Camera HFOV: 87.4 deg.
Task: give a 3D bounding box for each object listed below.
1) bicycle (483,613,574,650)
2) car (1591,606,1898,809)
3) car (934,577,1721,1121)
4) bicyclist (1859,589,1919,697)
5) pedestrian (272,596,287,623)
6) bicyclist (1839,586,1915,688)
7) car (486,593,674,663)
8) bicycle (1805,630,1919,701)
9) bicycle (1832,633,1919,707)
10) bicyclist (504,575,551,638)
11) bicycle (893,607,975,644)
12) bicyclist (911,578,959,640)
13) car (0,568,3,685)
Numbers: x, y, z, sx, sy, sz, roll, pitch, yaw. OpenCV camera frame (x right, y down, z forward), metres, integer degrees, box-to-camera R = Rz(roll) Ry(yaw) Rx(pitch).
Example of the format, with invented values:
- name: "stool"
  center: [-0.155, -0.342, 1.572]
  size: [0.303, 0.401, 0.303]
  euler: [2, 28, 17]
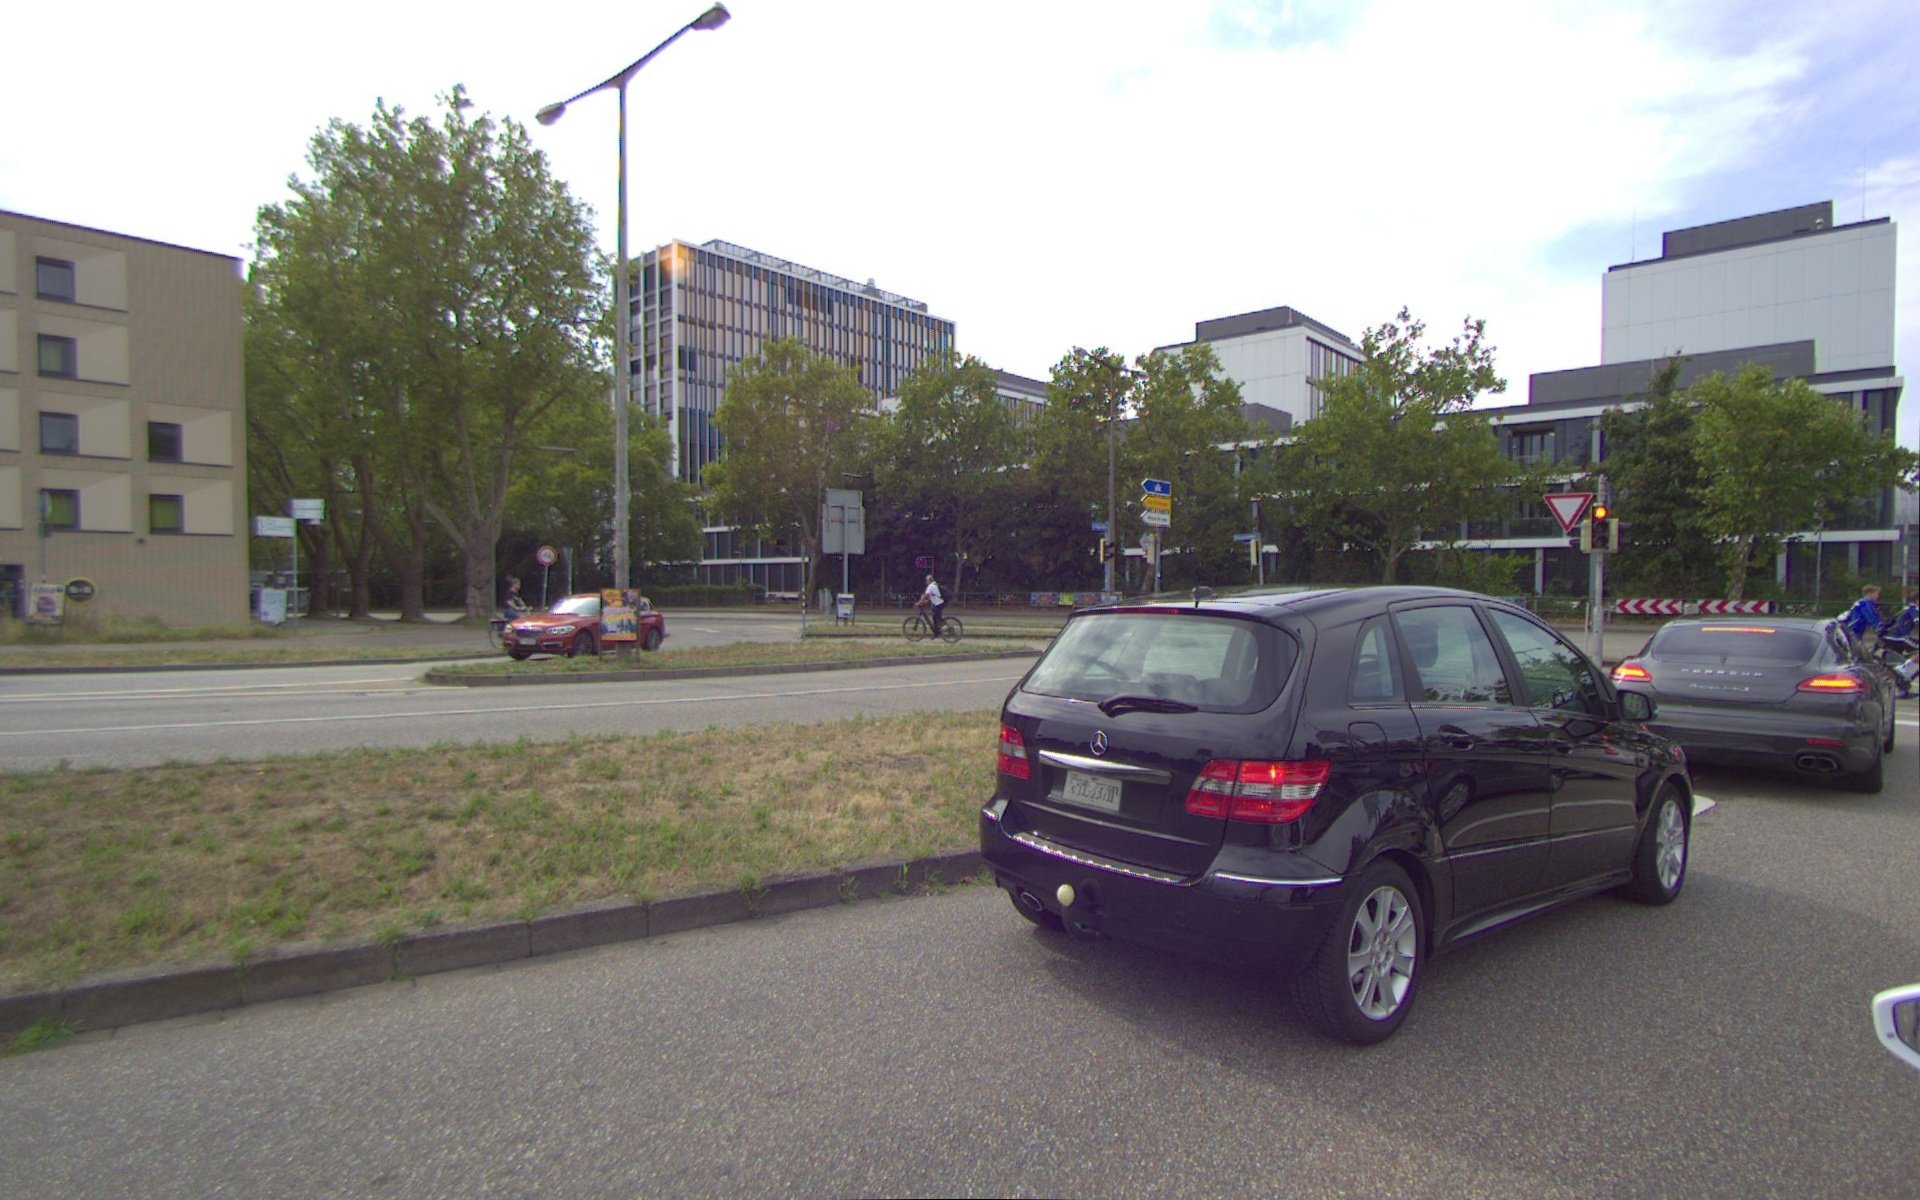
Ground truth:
- name: "bicycle"
  center: [-11.413, 0.824, 26.636]
  size: [2.078, 0.921, 0.741]
  euler: [1, 0, -2]
- name: "car"
  center: [7.728, 0.803, 9.693]
  size: [1.800, 1.433, 4.746]
  euler: [2, 1, 44]
- name: "car"
  center: [1.990, 0.707, 4.883]
  size: [4.000, 1.596, 1.743]
  euler: [-1, 2, -38]
- name: "bicyclist"
  center: [14.041, 0.620, 14.909]
  size: [1.005, 1.560, 0.625]
  euler: [1, 1, 44]
- name: "pedestrian"
  center: [-29.406, 0.407, 43.420]
  size: [0.498, 1.140, 0.458]
  euler: [0, 1, -41]
- name: "bicyclist"
  center: [14.490, 0.563, 15.895]
  size: [0.829, 1.550, 0.625]
  euler: [1, 1, 41]
- name: "car"
  center: [-8.462, 0.590, 22.808]
  size: [1.910, 1.399, 4.217]
  euler: [1, 0, 14]
- name: "bicycle"
  center: [14.547, 1.017, 15.826]
  size: [1.879, 1.027, 0.625]
  euler: [1, 1, 41]
- name: "bicycle"
  center: [14.147, 1.037, 14.830]
  size: [1.881, 1.027, 0.624]
  euler: [1, 1, 44]
- name: "bicyclist"
  center: [-11.455, 0.165, 26.631]
  size: [0.903, 1.636, 0.741]
  euler: [1, 0, -2]
- name: "bicycle"
  center: [-0.749, 0.707, 28.352]
  size: [2.195, 0.965, 0.810]
  euler: [1, 0, 29]
- name: "bicyclist"
  center: [-0.708, 0.245, 28.310]
  size: [1.095, 1.719, 0.812]
  euler: [1, 1, 28]
- name: "car"
  center: [-15.176, 0.306, 12.607]
  size: [1.921, 1.581, 4.440]
  euler: [1, 0, 41]
